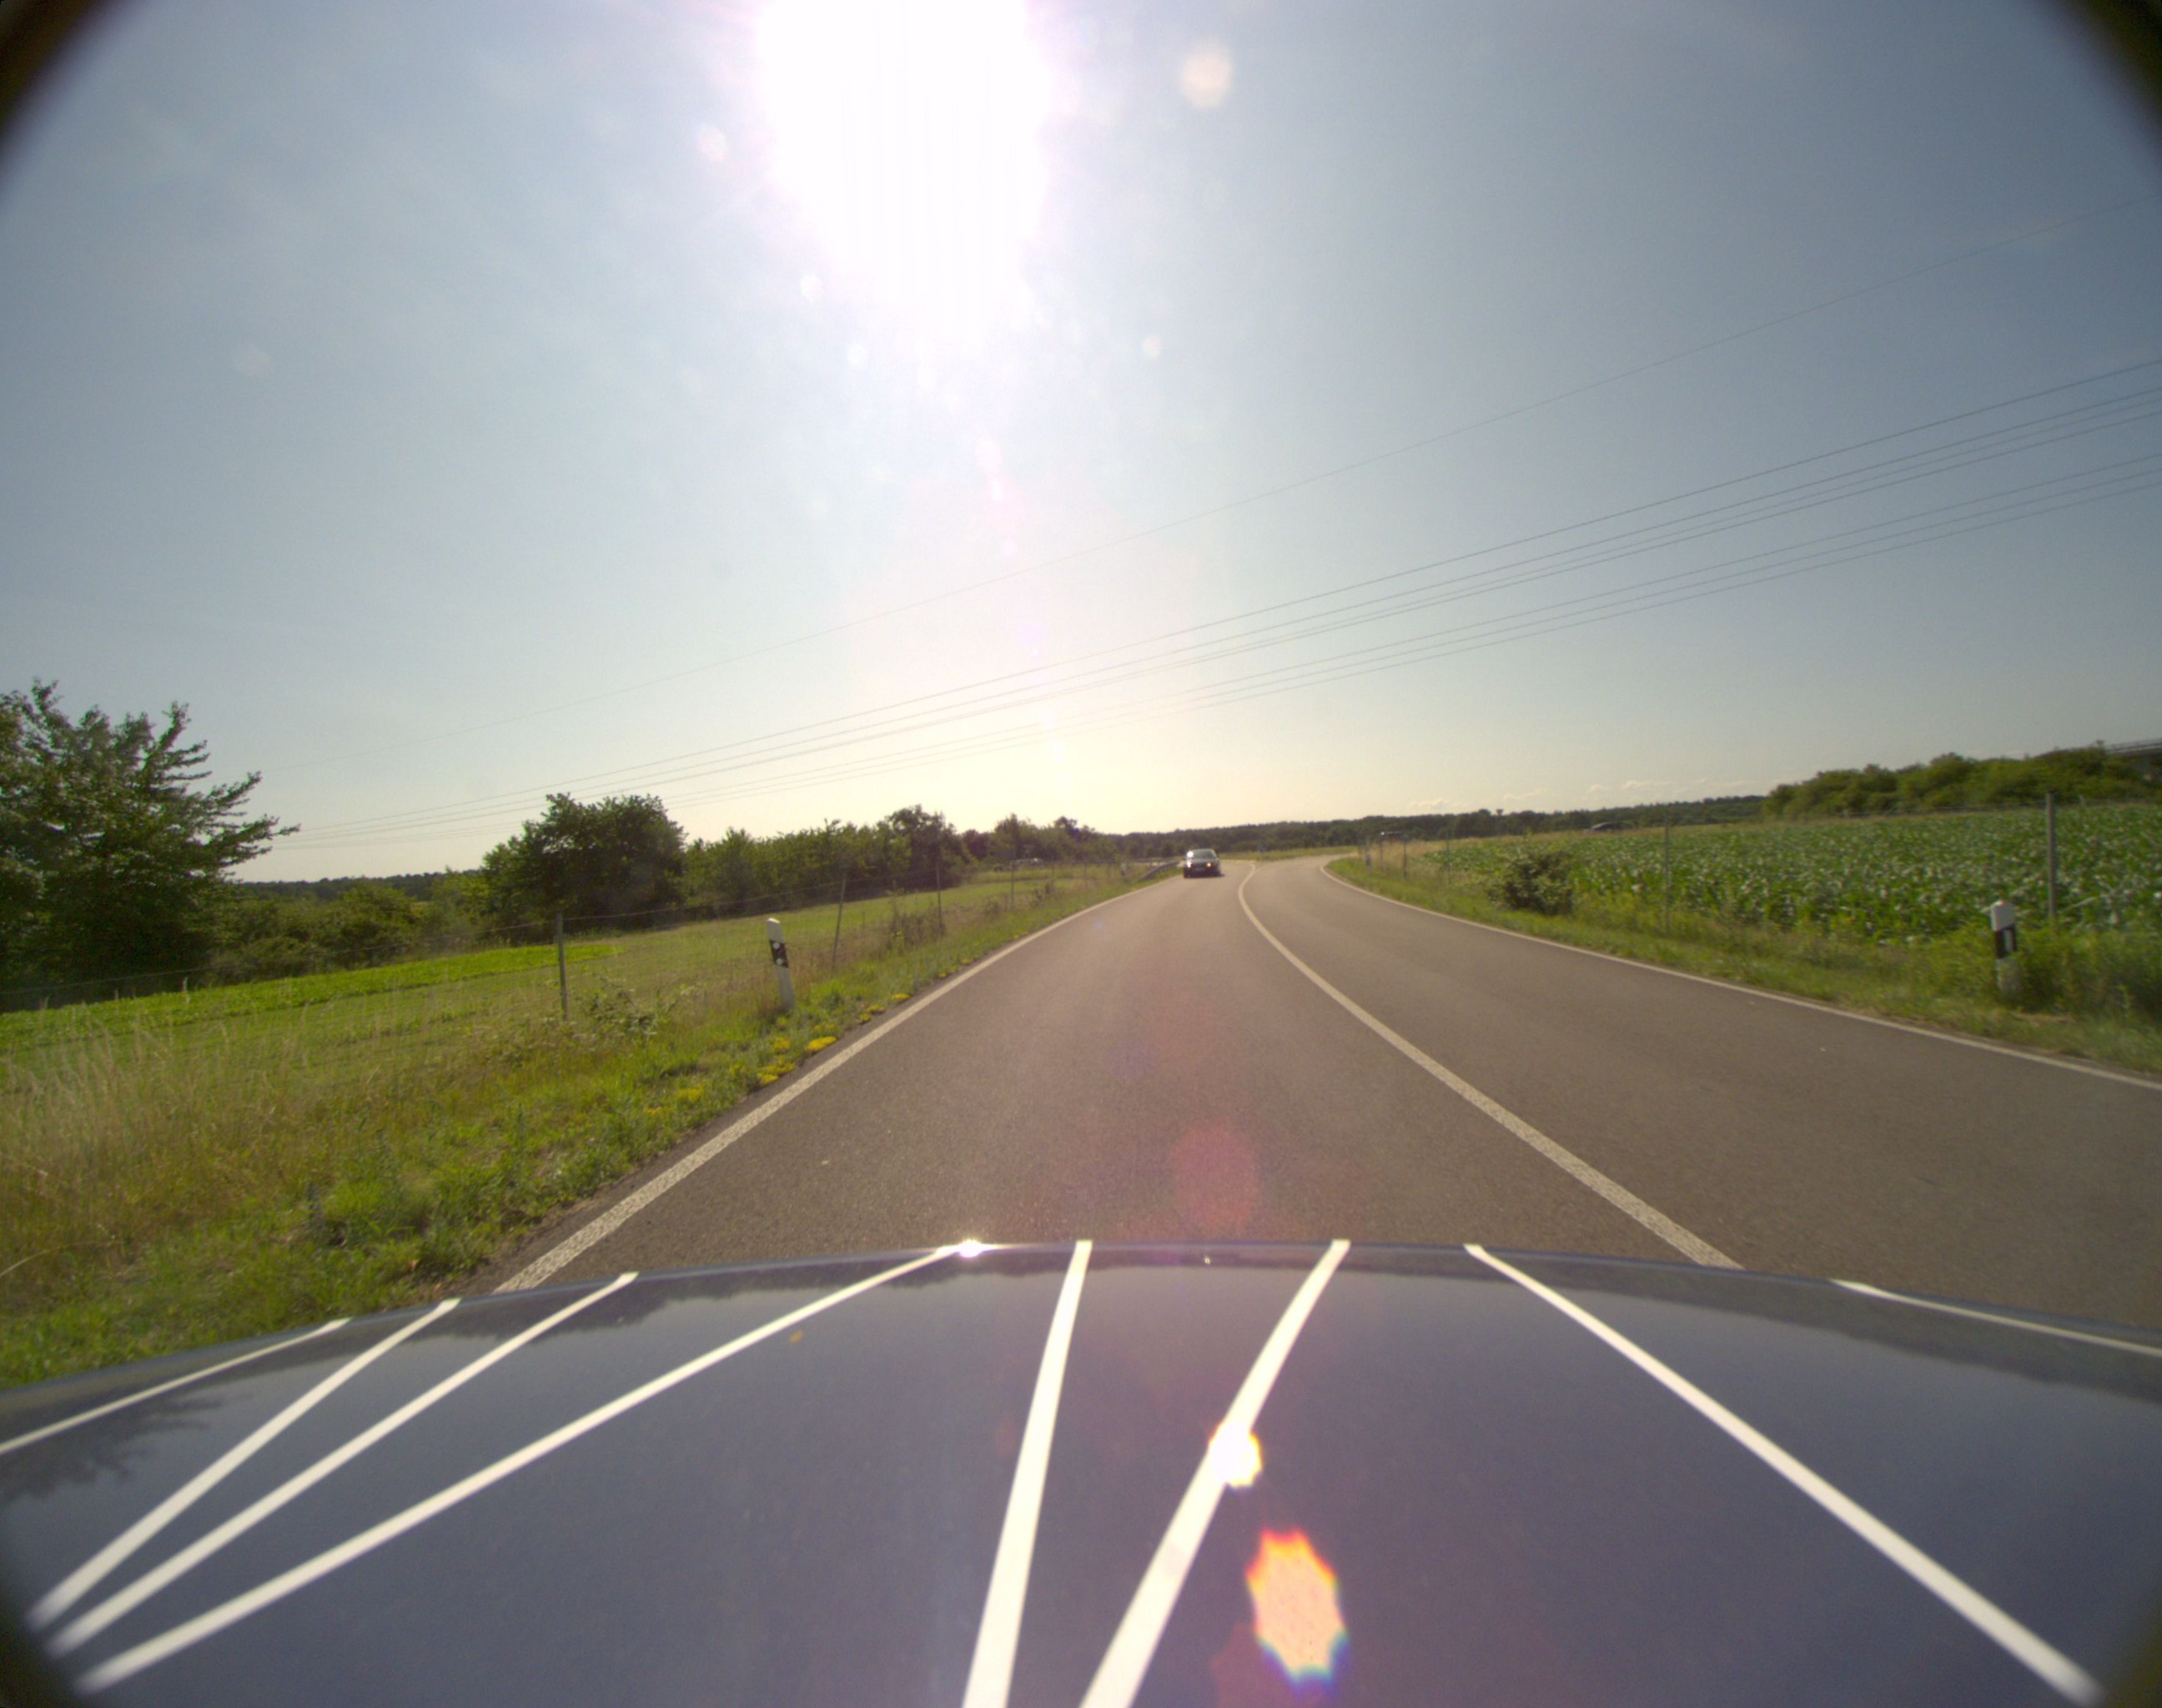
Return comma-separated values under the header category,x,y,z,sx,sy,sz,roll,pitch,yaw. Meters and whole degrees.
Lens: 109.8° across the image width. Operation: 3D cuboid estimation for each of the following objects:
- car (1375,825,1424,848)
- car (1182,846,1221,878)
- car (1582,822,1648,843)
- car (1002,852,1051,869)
category,x,y,z,sx,sy,sz,roll,pitch,yaw
car,26.268,-1.458,62.609,4.268,1.697,1.984,-4,2,-40
car,6.356,0.381,39.864,1.885,1.448,4.077,-3,1,10
car,46.764,-1.858,66.593,4.590,1.448,1.780,-4,0,-5
car,-6.552,0.812,90.715,5.341,1.630,2.105,-4,0,25
